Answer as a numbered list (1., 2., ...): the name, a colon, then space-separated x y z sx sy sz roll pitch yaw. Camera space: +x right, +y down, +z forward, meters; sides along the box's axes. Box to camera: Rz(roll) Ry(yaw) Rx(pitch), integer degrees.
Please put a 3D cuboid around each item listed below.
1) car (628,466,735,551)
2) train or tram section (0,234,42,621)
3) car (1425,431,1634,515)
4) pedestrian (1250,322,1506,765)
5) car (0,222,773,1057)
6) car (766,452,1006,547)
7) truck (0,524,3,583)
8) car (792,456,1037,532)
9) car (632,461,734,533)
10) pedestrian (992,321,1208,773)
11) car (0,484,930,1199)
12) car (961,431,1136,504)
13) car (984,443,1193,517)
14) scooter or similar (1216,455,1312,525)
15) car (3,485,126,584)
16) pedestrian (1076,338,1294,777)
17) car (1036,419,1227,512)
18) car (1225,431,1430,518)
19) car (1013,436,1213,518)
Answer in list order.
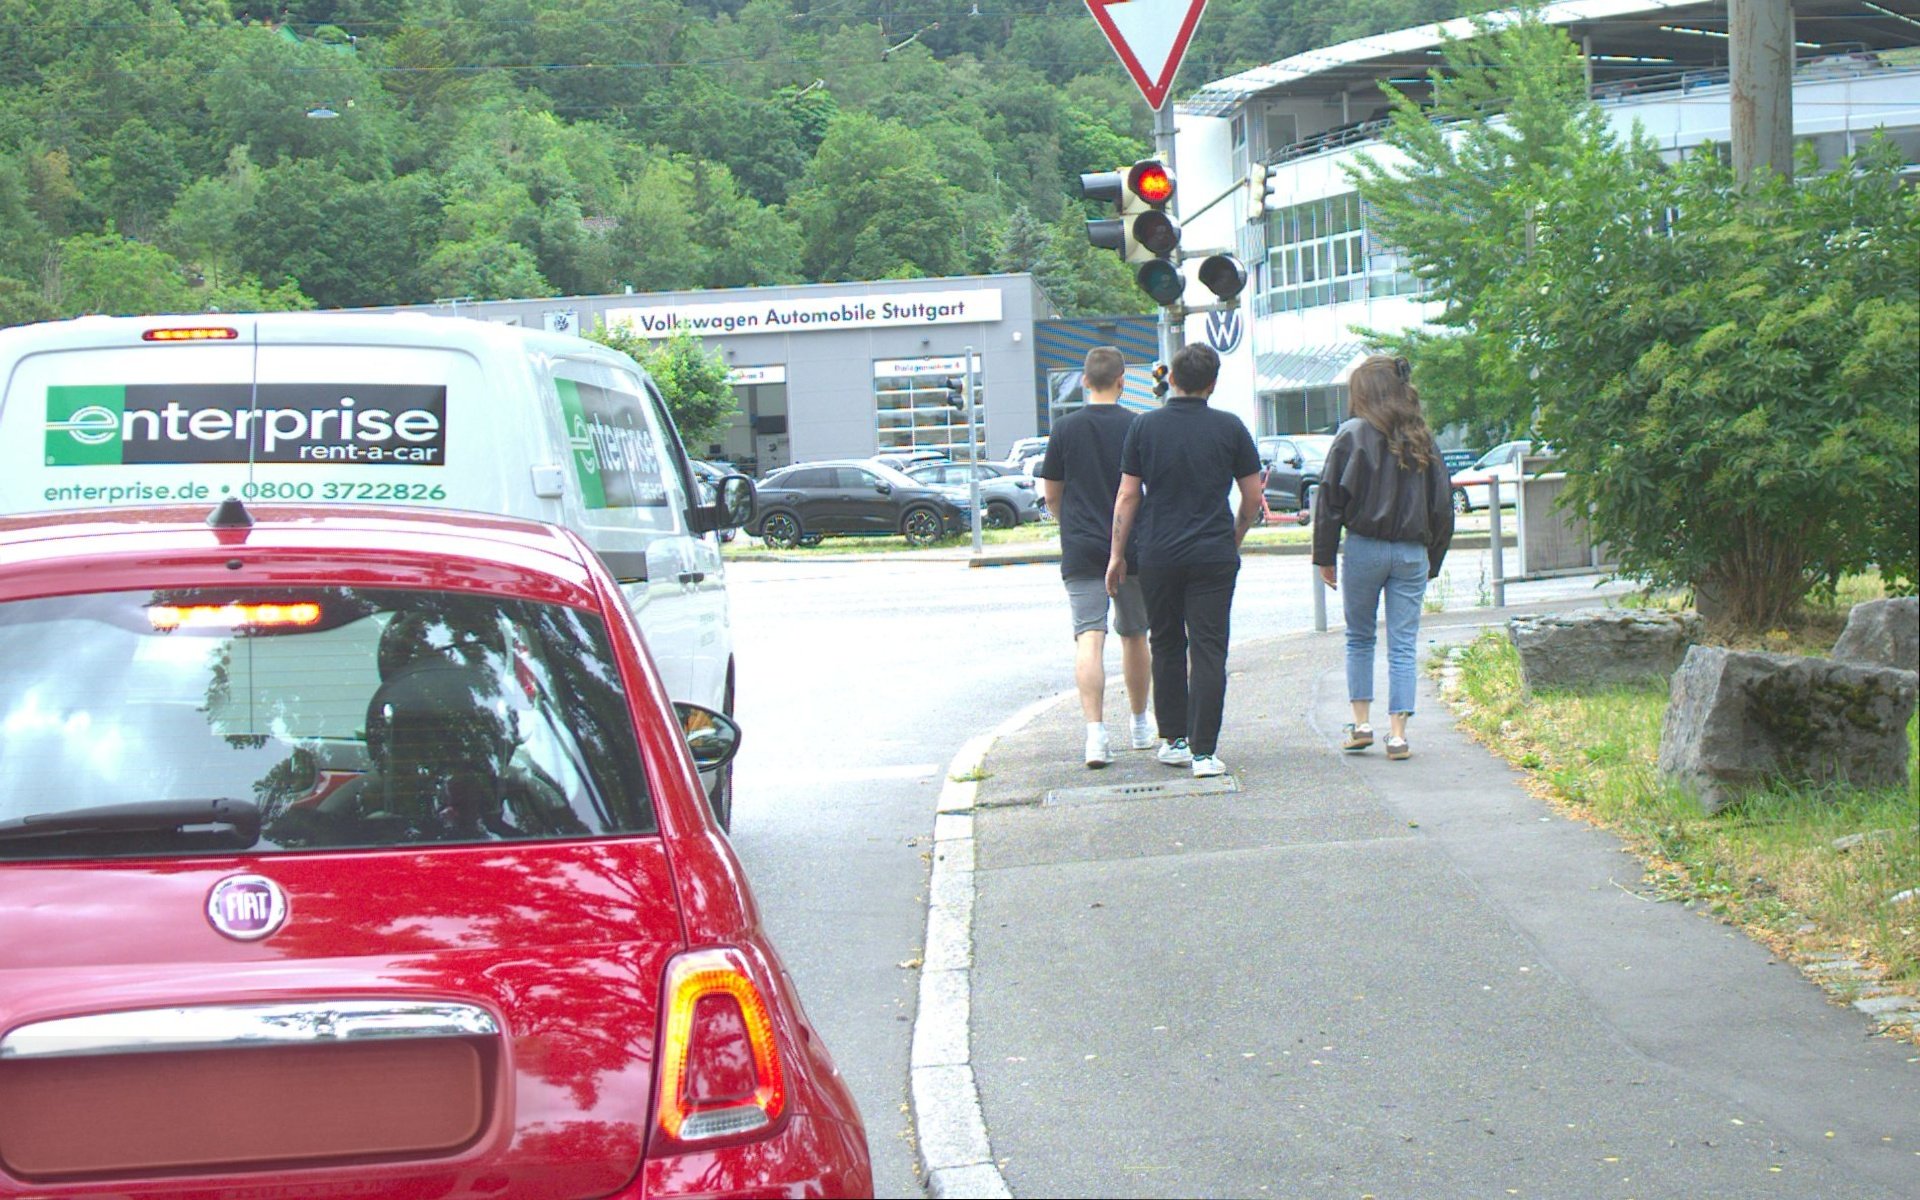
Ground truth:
1. car: -6.352 -2.124 78.832 1.993 1.809 4.000 -2 2 1
2. train or tram section: -18.443 -1.183 31.589 19.107 3.653 3.279 -3 2 -16
3. car: 11.044 -2.457 66.842 1.770 1.495 4.022 -4 3 -31
4. pedestrian: 1.707 -0.240 14.123 0.693 1.733 0.788 -4 2 -19
5. car: -1.855 0.023 11.347 1.989 2.099 4.762 -3 2 2
6. car: -1.317 -1.801 61.379 3.871 1.495 1.774 -2 2 17
7. truck: -24.054 -1.443 75.974 5.183 2.385 2.000 -4 3 -28
8. car: -0.913 -2.169 70.440 4.674 1.323 1.775 -2 2 14
9. car: -6.314 -2.379 78.773 1.770 1.528 4.091 -2 2 2
10. pedestrian: 0.607 -0.234 14.681 0.693 1.850 0.788 -2 2 14
11. car: -1.178 0.572 5.537 1.638 1.451 3.432 -2 2 -11
12. car: 2.492 -3.717 96.201 4.796 1.796 1.776 -2 2 3
13. car: 3.035 -2.832 81.062 4.796 1.528 1.776 -2 2 3
14. scooter or similar: 5.513 -1.995 62.295 1.668 1.173 0.467 -2 2 7
15. car: -17.780 -1.343 68.405 1.859 1.811 4.404 -3 2 -9
16. pedestrian: 0.927 -0.181 13.997 0.693 1.708 0.788 -2 2 13
17. car: 4.439 -3.487 89.120 4.796 2.149 2.234 -2 2 3
18. car: 6.931 -2.357 65.164 1.770 1.495 3.881 -4 3 -33
19. car: 3.760 -3.038 84.604 4.796 1.796 1.776 -2 2 3
